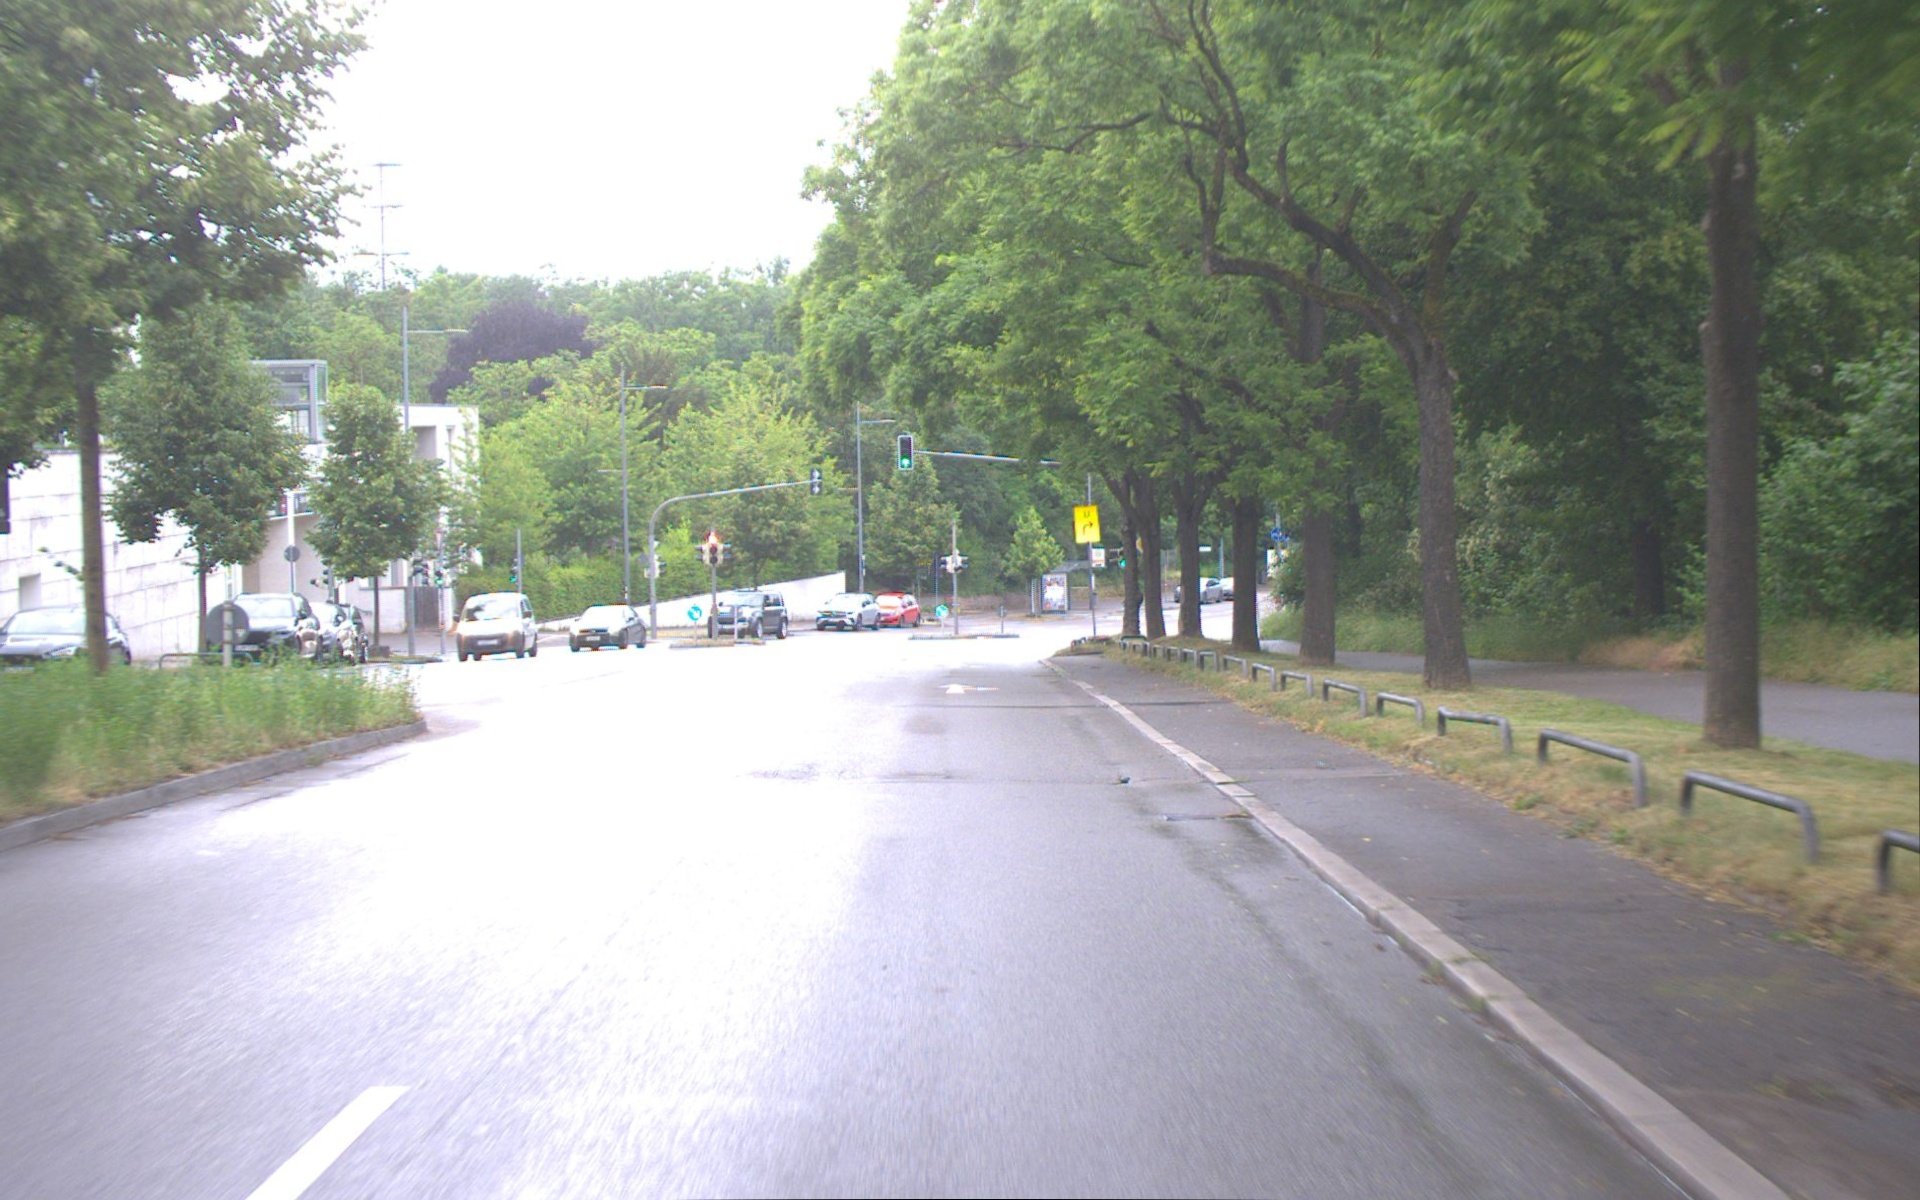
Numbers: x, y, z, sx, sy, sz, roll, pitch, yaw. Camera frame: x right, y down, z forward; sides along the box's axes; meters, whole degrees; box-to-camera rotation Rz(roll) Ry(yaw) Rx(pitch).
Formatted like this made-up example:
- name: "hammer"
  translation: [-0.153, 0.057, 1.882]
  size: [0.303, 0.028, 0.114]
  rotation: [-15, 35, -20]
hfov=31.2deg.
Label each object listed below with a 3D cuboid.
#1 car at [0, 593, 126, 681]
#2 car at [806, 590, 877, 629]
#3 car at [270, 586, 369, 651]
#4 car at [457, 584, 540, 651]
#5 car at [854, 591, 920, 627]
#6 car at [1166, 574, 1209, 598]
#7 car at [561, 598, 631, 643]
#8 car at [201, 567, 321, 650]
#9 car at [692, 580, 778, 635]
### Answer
- name: "car"
  translation: [-15.276, 0.603, 57.650]
  size: [1.679, 1.421, 3.965]
  rotation: [0, 0, -1]
- name: "car"
  translation: [-5.215, 0.402, 152.212]
  size: [1.854, 1.634, 4.090]
  rotation: [3, 1, 17]
- name: "car"
  translation: [-15.336, 0.448, 82.513]
  size: [1.679, 1.510, 3.710]
  rotation: [0, 0, 0]
- name: "car"
  translation: [-12.466, 0.455, 93.109]
  size: [1.710, 1.740, 4.338]
  rotation: [-1, 0, -1]
- name: "car"
  translation: [-3.352, 0.396, 159.074]
  size: [1.876, 1.569, 4.220]
  rotation: [2, 1, 15]
- name: "car"
  translation: [13.963, -0.864, 210.936]
  size: [1.714, 1.456, 3.747]
  rotation: [0, 0, 19]
- name: "car"
  translation: [-11.740, 0.658, 111.046]
  size: [1.770, 1.376, 4.190]
  rotation: [-2, 0, 0]
- name: "car"
  translation: [-15.550, 0.188, 76.687]
  size: [1.856, 1.775, 4.597]
  rotation: [-1, 0, -2]
- name: "car"
  translation: [-8.533, 0.264, 130.665]
  size: [1.921, 1.851, 4.504]
  rotation: [-4, 0, 13]
